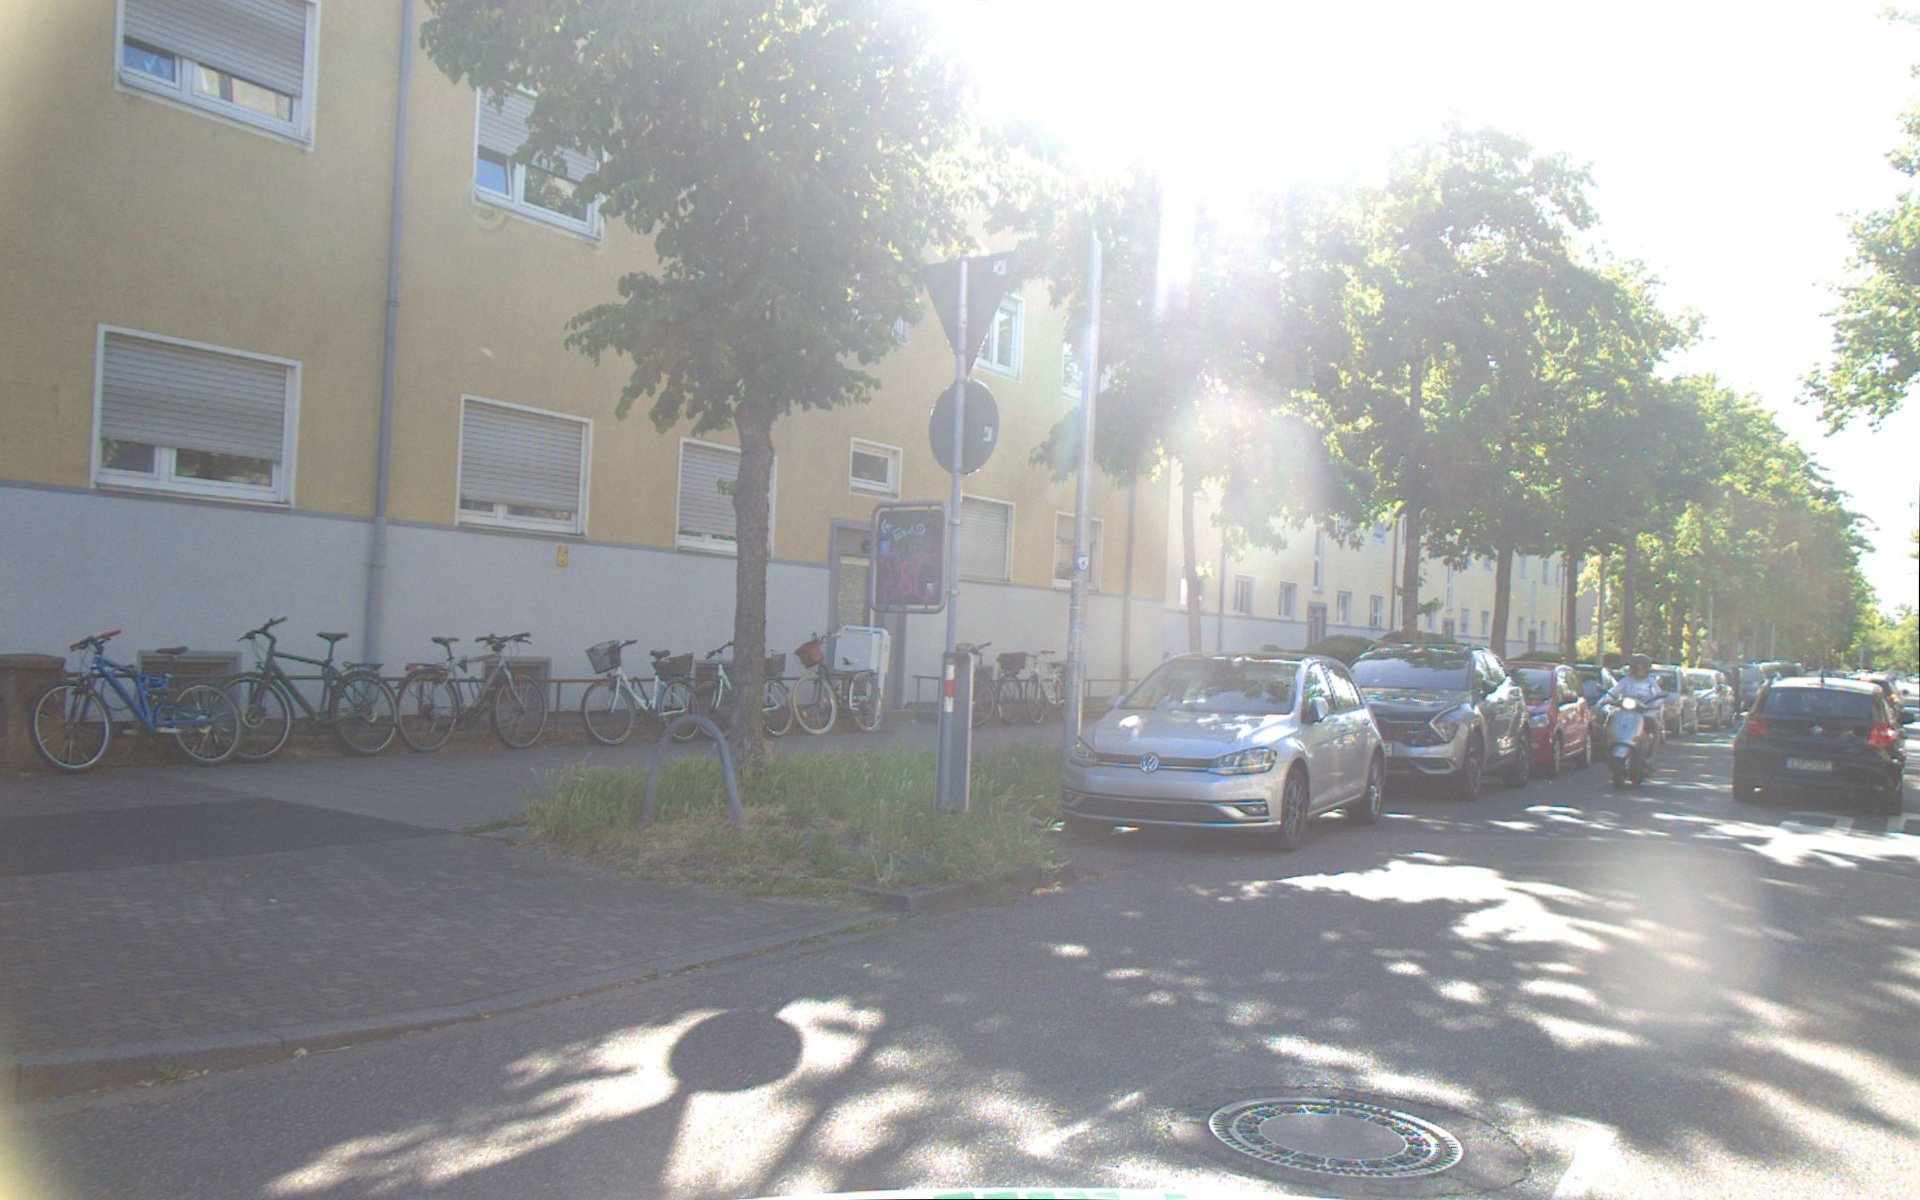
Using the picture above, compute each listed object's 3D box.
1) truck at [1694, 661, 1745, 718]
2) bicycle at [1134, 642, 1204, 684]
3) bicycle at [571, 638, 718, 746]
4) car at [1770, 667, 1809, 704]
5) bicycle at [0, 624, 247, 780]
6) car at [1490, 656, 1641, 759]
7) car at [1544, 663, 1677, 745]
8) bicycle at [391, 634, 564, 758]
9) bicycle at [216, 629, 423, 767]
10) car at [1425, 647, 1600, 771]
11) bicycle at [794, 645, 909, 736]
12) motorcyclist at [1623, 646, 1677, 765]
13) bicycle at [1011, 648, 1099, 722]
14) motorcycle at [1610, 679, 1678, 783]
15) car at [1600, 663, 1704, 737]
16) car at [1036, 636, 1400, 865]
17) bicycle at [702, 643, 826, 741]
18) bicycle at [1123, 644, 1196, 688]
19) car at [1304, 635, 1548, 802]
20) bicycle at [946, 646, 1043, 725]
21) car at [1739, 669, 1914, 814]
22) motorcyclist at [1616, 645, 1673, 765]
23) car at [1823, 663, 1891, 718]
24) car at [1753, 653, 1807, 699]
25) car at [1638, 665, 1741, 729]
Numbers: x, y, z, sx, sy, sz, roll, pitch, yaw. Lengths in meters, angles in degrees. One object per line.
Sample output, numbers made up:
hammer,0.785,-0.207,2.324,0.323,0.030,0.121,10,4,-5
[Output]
truck,22.803,2.675,49.630,1.065,1.605,2.425,2,-1,32
bicycle,5.129,1.552,40.592,1.599,0.947,0.481,2,-1,23
bicycle,-3.176,0.920,16.806,0.426,1.018,1.678,2,-1,30
car,39.095,3.991,77.901,1.581,1.639,4.223,1,-2,28
bicycle,-5.926,0.705,11.779,0.467,1.018,1.541,2,-1,30
car,10.012,1.711,27.190,1.634,1.484,3.924,2,-1,30
car,12.640,1.964,31.980,1.713,1.393,4.664,1,-2,30
bicycle,-4.242,0.836,14.637,0.445,1.018,1.541,2,-1,30
bicycle,-5.069,0.764,13.176,0.466,1.018,1.541,2,-1,30
car,7.699,1.459,22.885,1.634,1.512,3.249,2,-1,30
bicycle,-1.280,1.074,19.794,0.506,1.018,1.540,2,-1,33
motorcyclist,8.688,1.319,20.815,0.534,1.451,0.403,2,-1,30
bicycle,1.454,1.281,25.067,0.526,1.045,1.744,2,-1,31
motorcycle,8.477,1.589,20.464,0.542,1.196,1.629,2,-1,30
car,15.579,2.215,37.119,1.590,1.542,4.259,0,-3,31
car,2.238,1.098,13.365,1.726,1.467,3.989,2,-1,27
bicycle,-2.157,1.010,18.382,0.502,1.018,1.541,2,-1,30
bicycle,4.634,1.525,38.505,1.601,0.947,0.480,2,-1,28
car,5.447,1.269,18.907,1.659,1.592,4.728,2,-1,28
bicycle,0.504,1.203,23.390,0.530,1.045,1.744,2,-1,31
car,10.017,1.548,19.064,1.618,1.421,3.405,2,-1,30
motorcyclist,8.452,1.281,20.407,0.542,1.427,0.518,2,-1,30
car,25.934,2.593,47.831,1.618,1.450,3.994,2,-1,29
car,36.313,3.359,73.175,1.793,1.938,5.130,0,-2,31
car,18.520,2.420,41.883,1.759,1.470,4.676,0,-2,32
